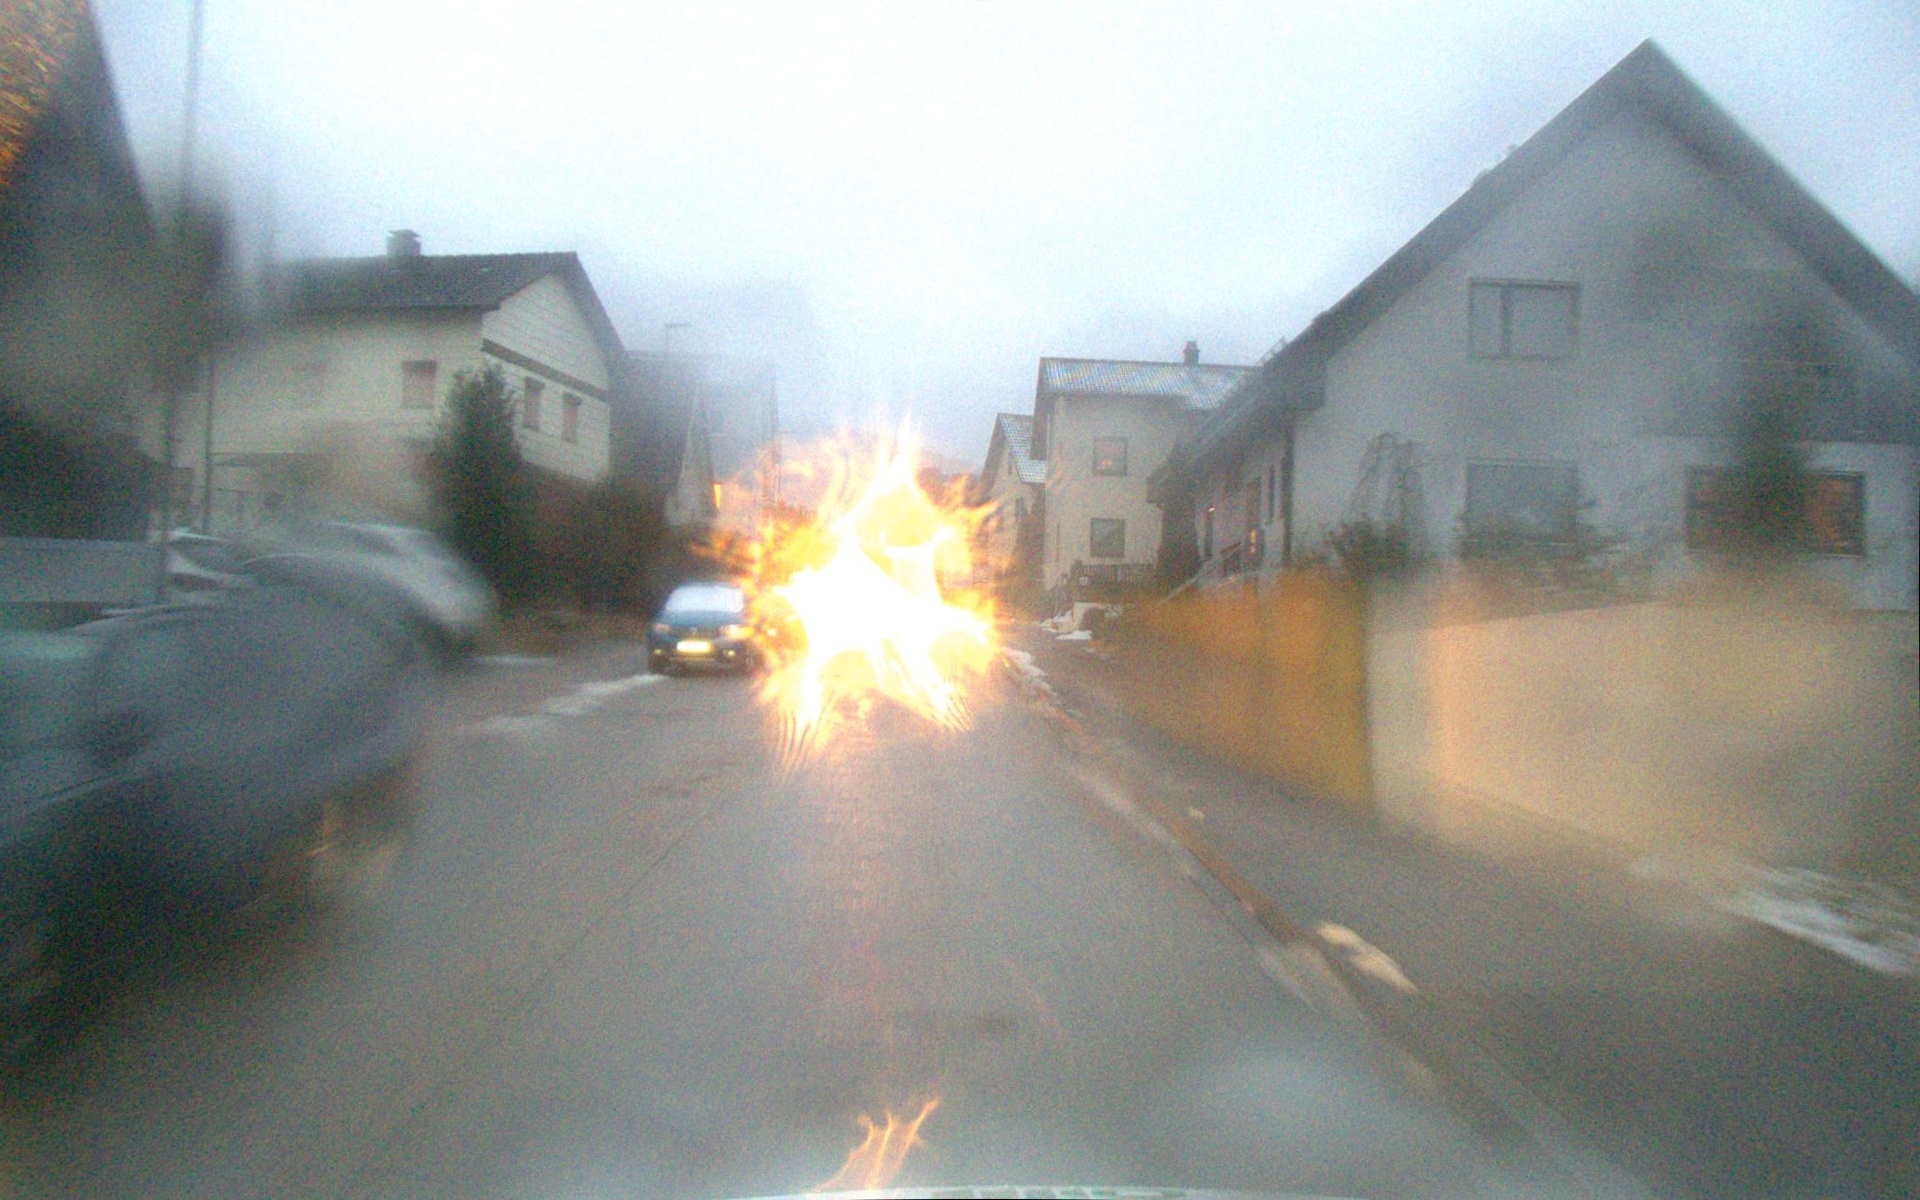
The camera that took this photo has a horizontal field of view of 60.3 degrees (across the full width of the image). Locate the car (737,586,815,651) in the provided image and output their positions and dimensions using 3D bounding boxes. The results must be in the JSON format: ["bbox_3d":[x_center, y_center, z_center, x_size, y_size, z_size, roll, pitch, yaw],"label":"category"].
[{"bbox_3d":[-4.533,0.425,41.200,1.759,1.530,4.306,0,0,-4],"label":"car"}]

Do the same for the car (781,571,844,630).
[{"bbox_3d":[-4.819,0.009,54.557,1.788,1.867,4.344,0,0,-1],"label":"car"}]

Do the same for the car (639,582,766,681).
[{"bbox_3d":[-4.481,0.530,29.298,1.649,1.612,4.174,1,-1,-1],"label":"car"}]

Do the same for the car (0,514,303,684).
[{"bbox_3d":[-10.028,-0.039,19.229,3.904,1.777,2.001,2,0,3],"label":"car"}]

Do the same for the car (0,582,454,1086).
[{"bbox_3d":[-3.649,0.668,6.473,1.839,1.419,5.074,0,-1,-1],"label":"car"}]

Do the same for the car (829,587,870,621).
[{"bbox_3d":[-5.811,0.255,87.169,1.953,1.679,3.999,1,-1,-1],"label":"car"}]

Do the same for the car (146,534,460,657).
[{"bbox_3d":[-9.803,-0.068,24.881,3.904,1.646,1.889,2,0,3],"label":"car"}]

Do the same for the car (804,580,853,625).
[{"bbox_3d":[-5.432,0.077,68.862,1.954,1.832,3.997,0,0,-3],"label":"car"}]
